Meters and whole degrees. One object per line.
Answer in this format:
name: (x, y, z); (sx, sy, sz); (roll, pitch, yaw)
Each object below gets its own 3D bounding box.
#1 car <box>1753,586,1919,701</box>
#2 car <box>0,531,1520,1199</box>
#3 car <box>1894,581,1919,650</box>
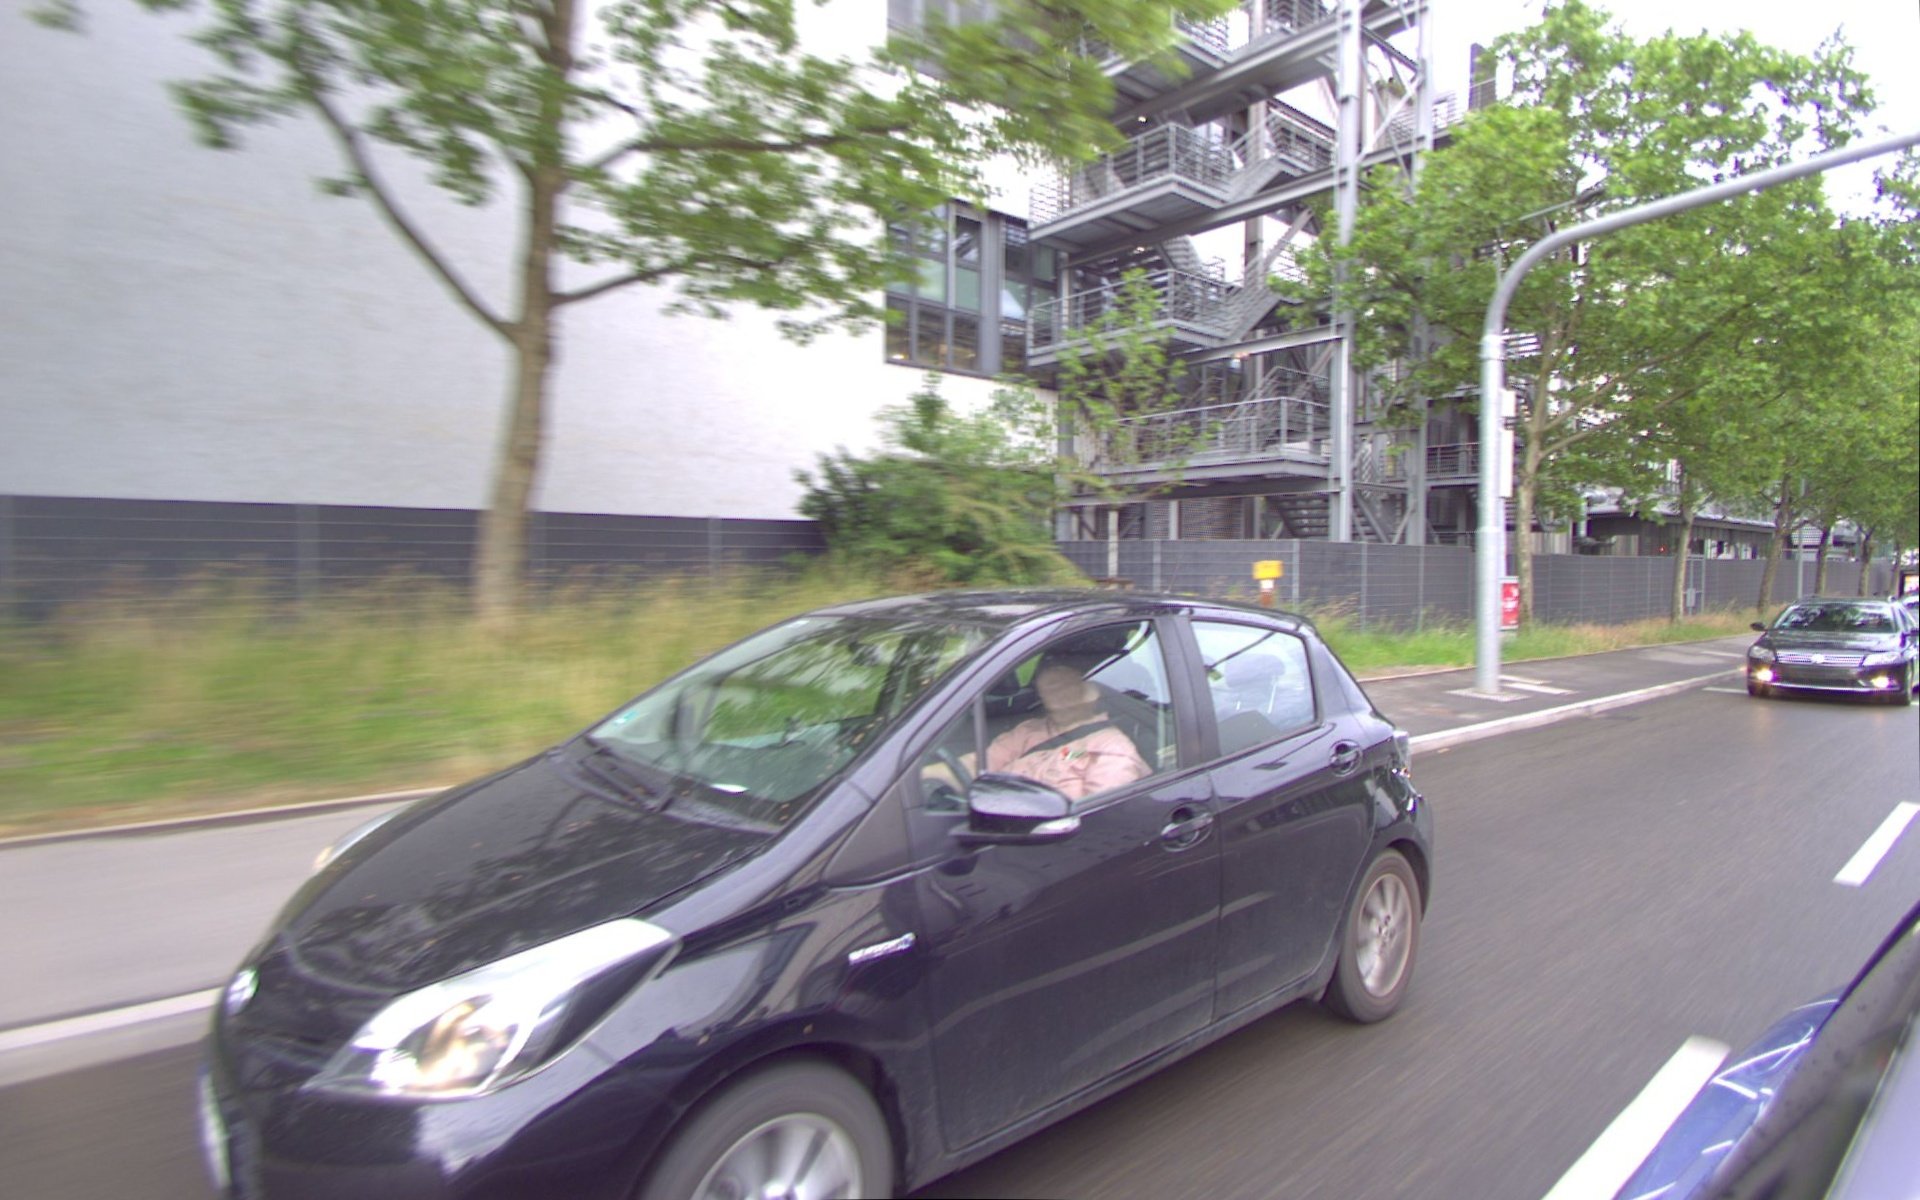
car: (13.384, 0.528, 15.045); (4.439, 1.448, 1.747); (-1, 1, -42)
car: (0.038, 0.625, 3.327); (4.560, 1.488, 1.747); (-1, 1, -42)
car: (24.193, 0.347, 24.555); (4.257, 1.610, 1.824); (-1, 2, -42)
